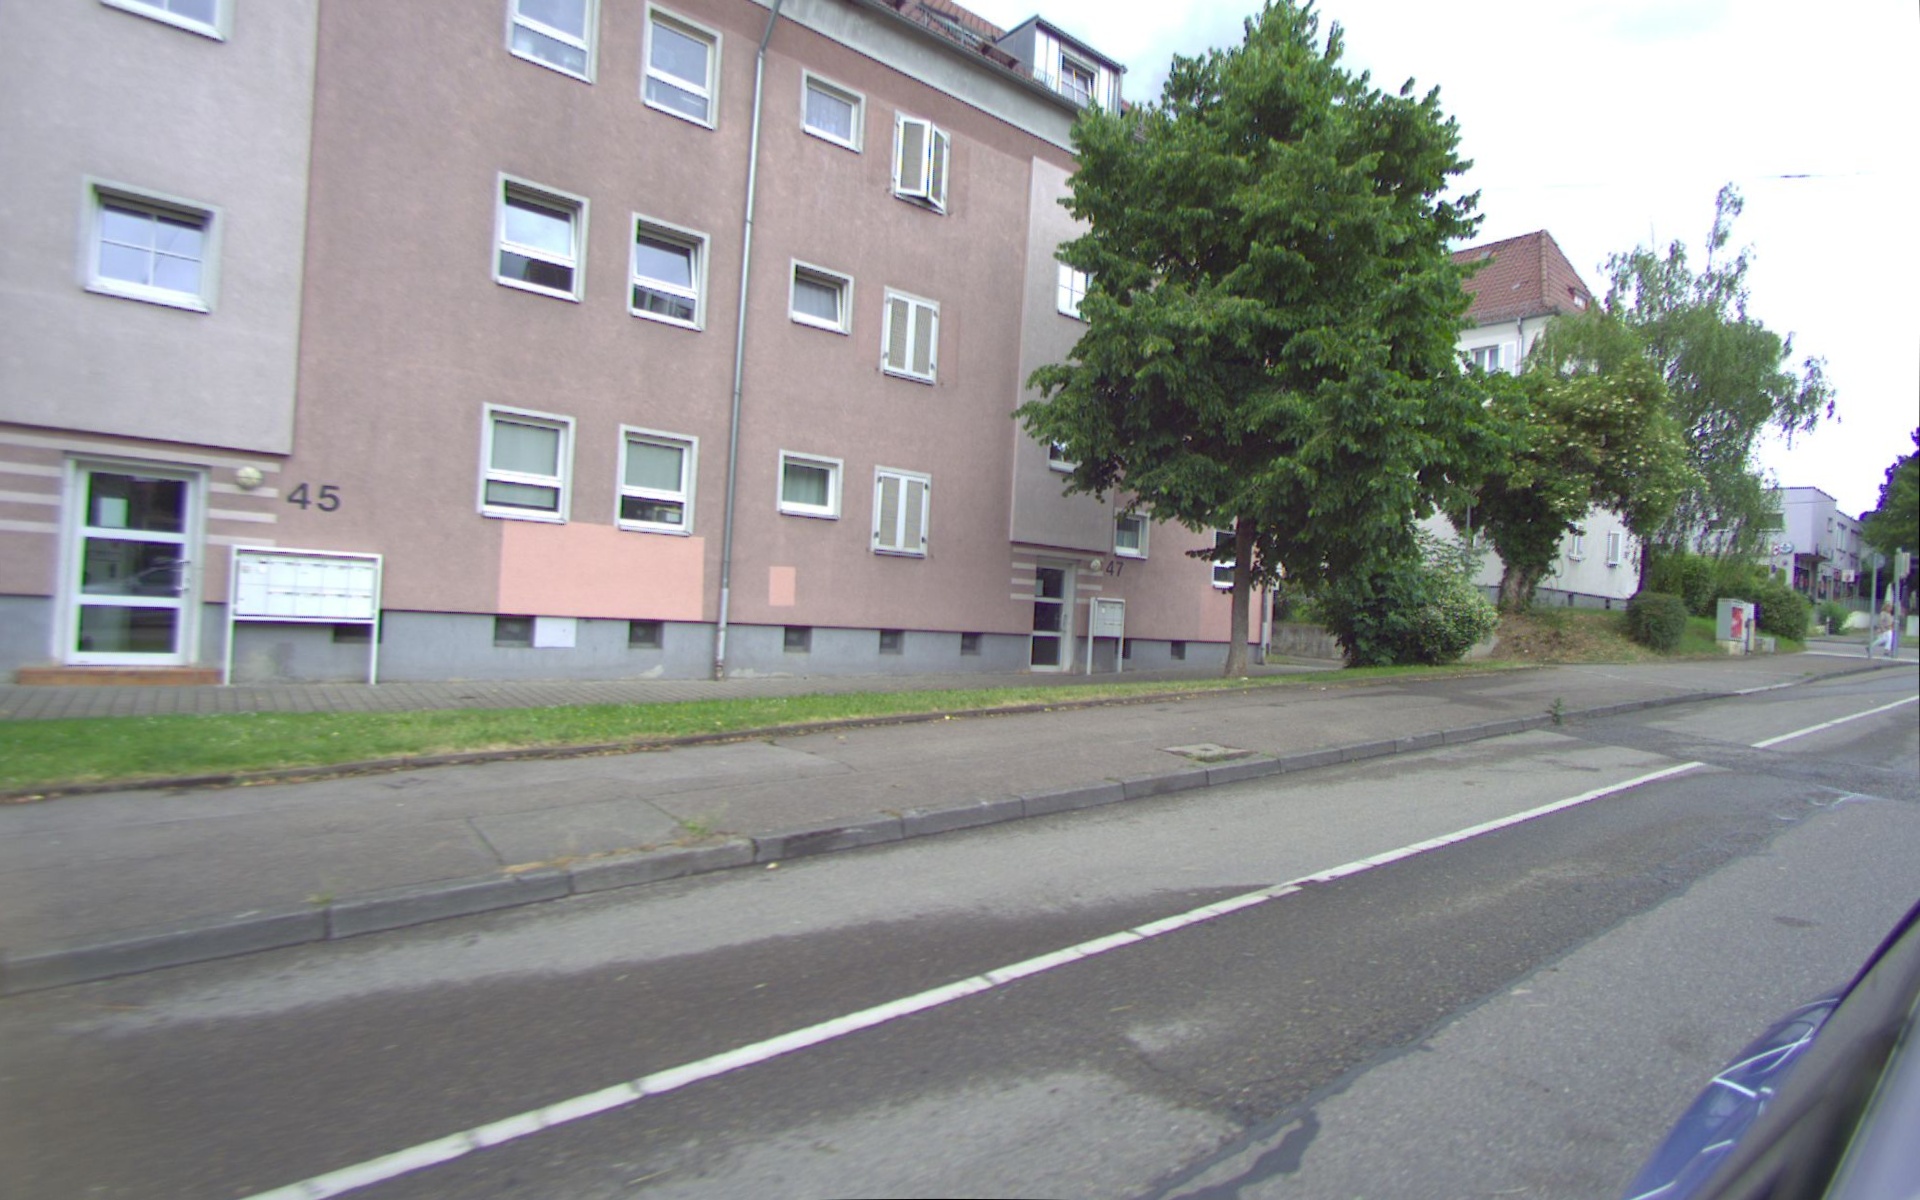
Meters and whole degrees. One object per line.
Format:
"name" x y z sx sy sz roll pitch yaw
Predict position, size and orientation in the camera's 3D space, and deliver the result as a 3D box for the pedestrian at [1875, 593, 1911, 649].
"pedestrian" 29.945 0.670 32.490 0.564 1.706 0.659 4 1 -38
